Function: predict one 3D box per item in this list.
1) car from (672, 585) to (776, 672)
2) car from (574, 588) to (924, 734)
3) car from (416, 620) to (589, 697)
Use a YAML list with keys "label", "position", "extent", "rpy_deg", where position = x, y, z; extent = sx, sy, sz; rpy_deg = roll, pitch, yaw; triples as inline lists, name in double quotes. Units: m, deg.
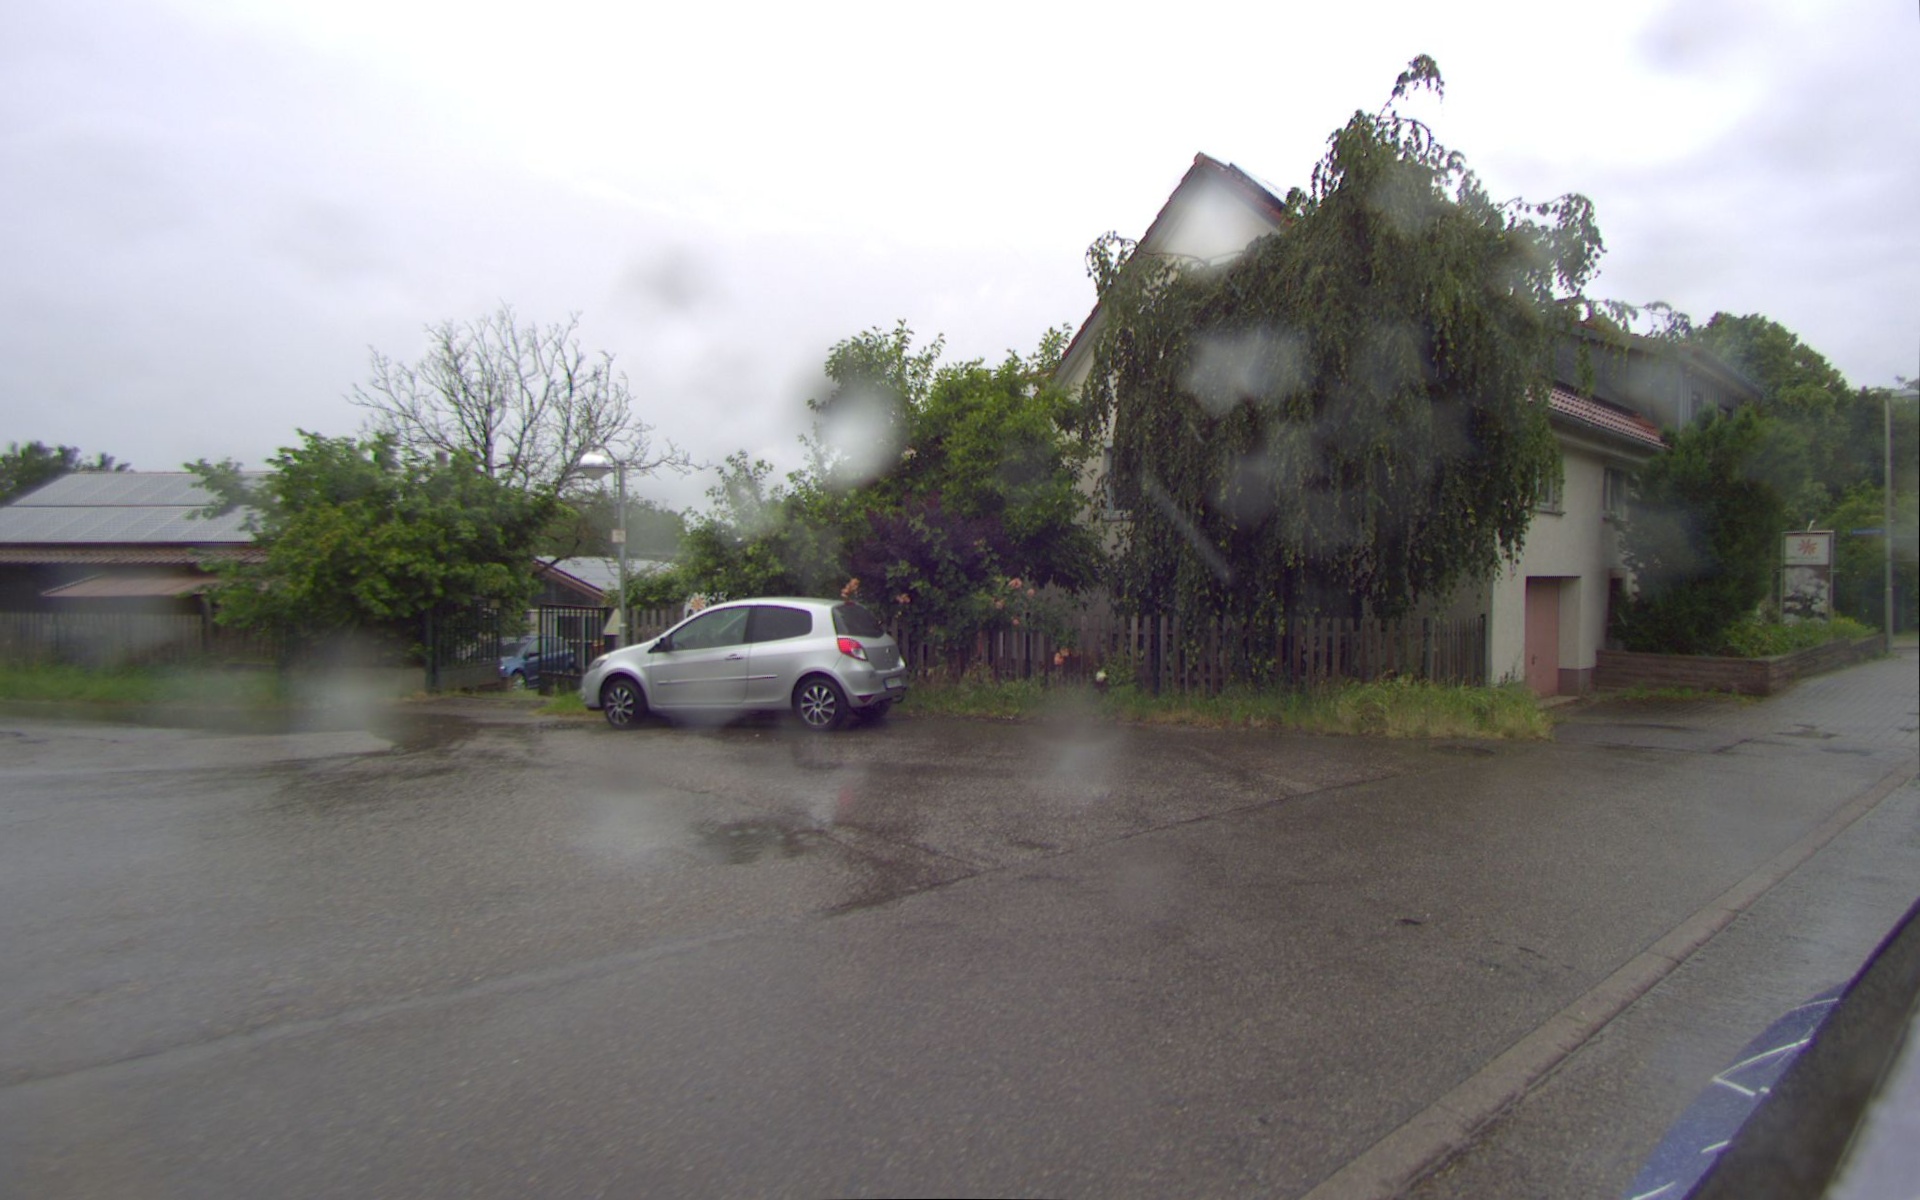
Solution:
- label: "car"
  position: [-7.424, 0.843, 32.244]
  extent: [1.966, 2.543, 3.992]
  rpy_deg: [1, 0, 7]
- label: "car"
  position: [-2.500, 0.662, 12.189]
  extent: [3.804, 1.551, 1.710]
  rpy_deg: [-1, 0, 17]
- label: "car"
  position: [-10.752, 1.316, 24.129]
  extent: [1.966, 1.570, 3.992]
  rpy_deg: [1, 0, 7]
